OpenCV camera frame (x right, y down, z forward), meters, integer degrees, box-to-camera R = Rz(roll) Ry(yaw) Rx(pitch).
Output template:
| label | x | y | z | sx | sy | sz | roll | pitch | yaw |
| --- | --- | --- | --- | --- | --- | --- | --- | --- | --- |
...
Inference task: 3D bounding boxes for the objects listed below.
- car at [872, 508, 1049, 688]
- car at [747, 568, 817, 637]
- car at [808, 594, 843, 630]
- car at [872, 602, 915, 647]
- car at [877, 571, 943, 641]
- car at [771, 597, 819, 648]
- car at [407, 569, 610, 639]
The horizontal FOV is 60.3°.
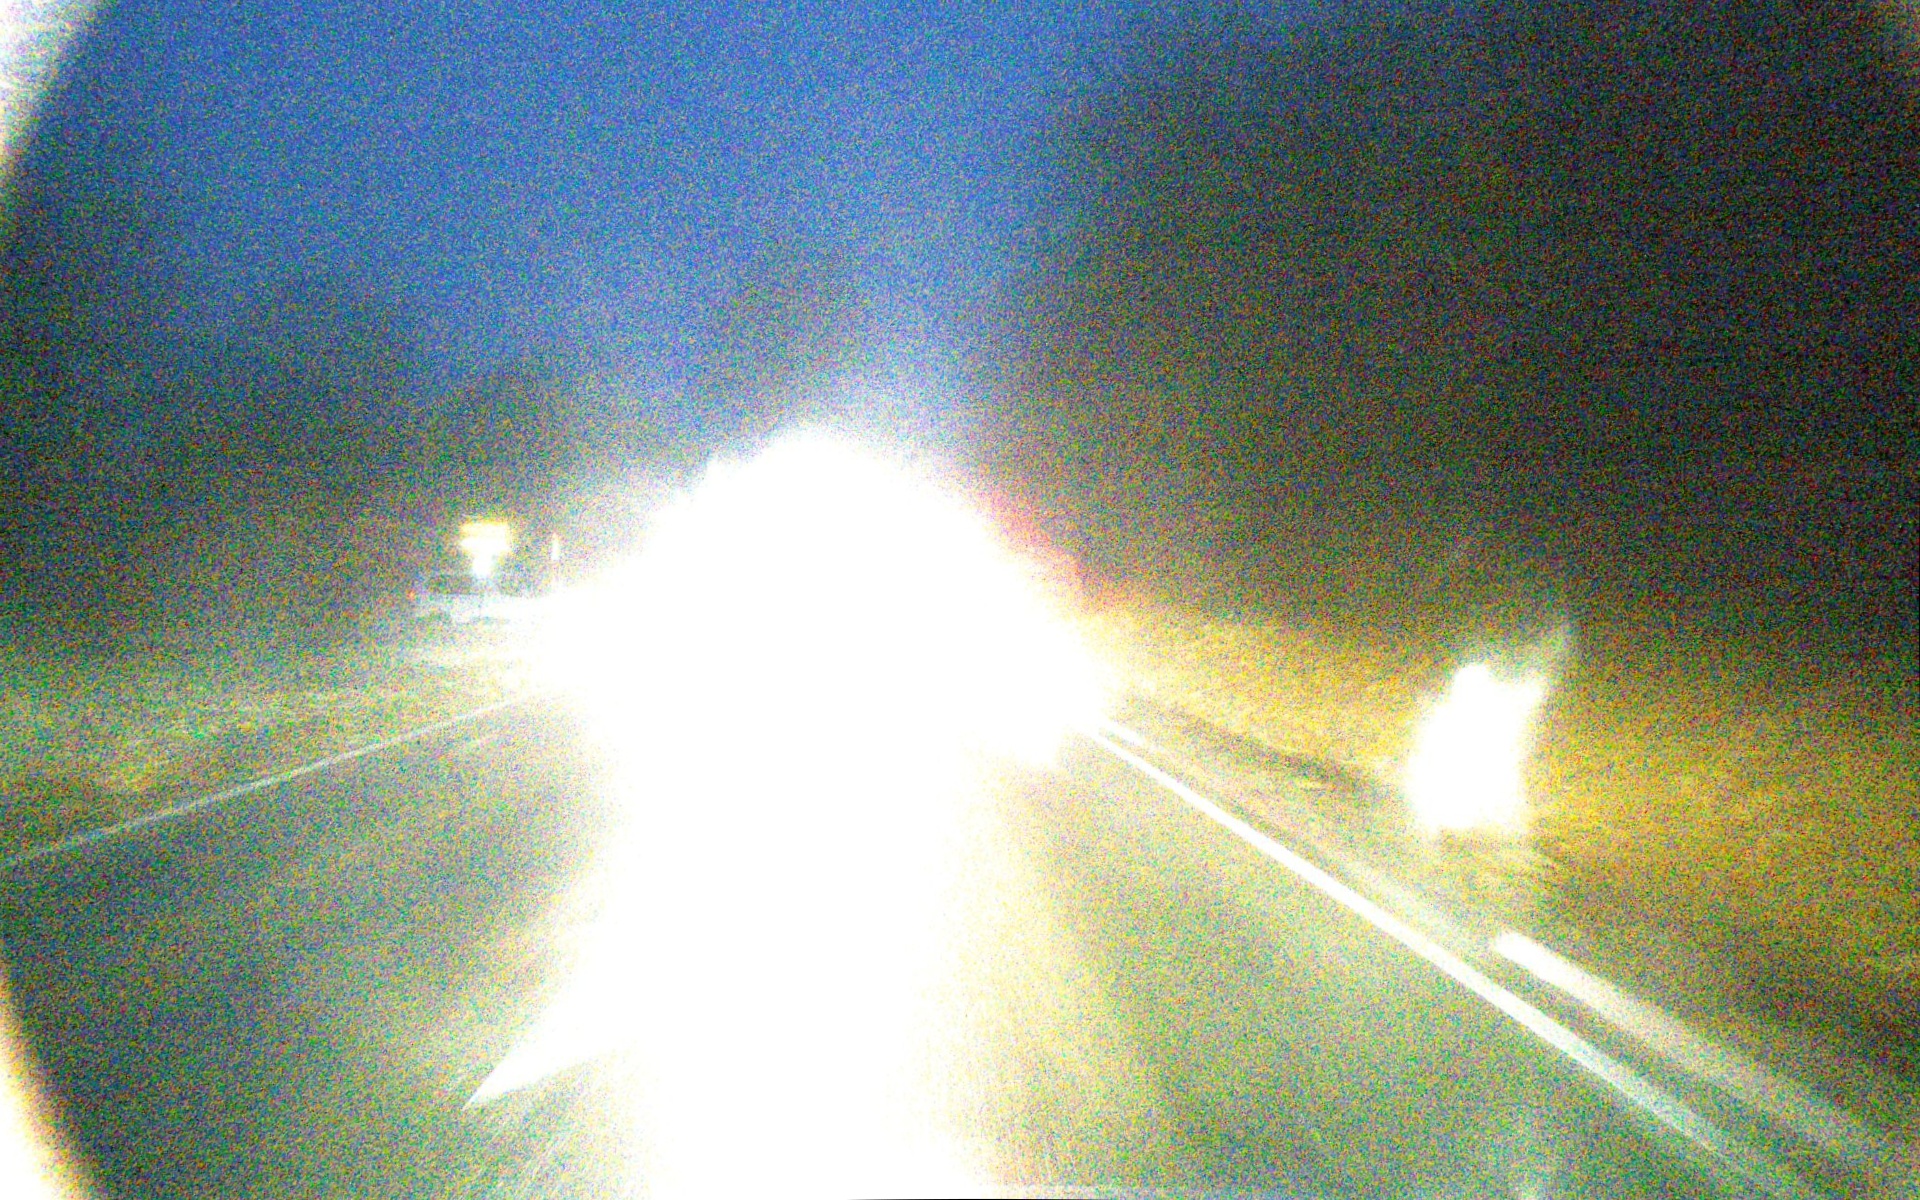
| label | x | y | z | sx | sy | sz | roll | pitch | yaw |
| --- | --- | --- | --- | --- | --- | --- | --- | --- | --- |
| car | -0.140 | -0.057 | 26.265 | 2.488 | 2.541 | 5.710 | 0 | 0 | -3 |
| car | -4.929 | 0.023 | 46.275 | 1.719 | 1.764 | 3.997 | 3 | 1 | -4 |
| car | -7.714 | 0.706 | 94.837 | 1.854 | 1.944 | 3.791 | 3 | -1 | -5 |
| car | -2.834 | 1.055 | 70.596 | 1.705 | 1.744 | 3.698 | 3 | -3 | -2 |
| car | -1.671 | 0.241 | 54.524 | 1.954 | 2.049 | 3.996 | 3 | -3 | -4 |
| car | -7.264 | 1.003 | 73.090 | 1.955 | 2.103 | 3.996 | 3 | -1 | -5 |
| car | -11.729 | 0.093 | 43.213 | 4.816 | 1.765 | 1.998 | 0 | 0 | -6 |
